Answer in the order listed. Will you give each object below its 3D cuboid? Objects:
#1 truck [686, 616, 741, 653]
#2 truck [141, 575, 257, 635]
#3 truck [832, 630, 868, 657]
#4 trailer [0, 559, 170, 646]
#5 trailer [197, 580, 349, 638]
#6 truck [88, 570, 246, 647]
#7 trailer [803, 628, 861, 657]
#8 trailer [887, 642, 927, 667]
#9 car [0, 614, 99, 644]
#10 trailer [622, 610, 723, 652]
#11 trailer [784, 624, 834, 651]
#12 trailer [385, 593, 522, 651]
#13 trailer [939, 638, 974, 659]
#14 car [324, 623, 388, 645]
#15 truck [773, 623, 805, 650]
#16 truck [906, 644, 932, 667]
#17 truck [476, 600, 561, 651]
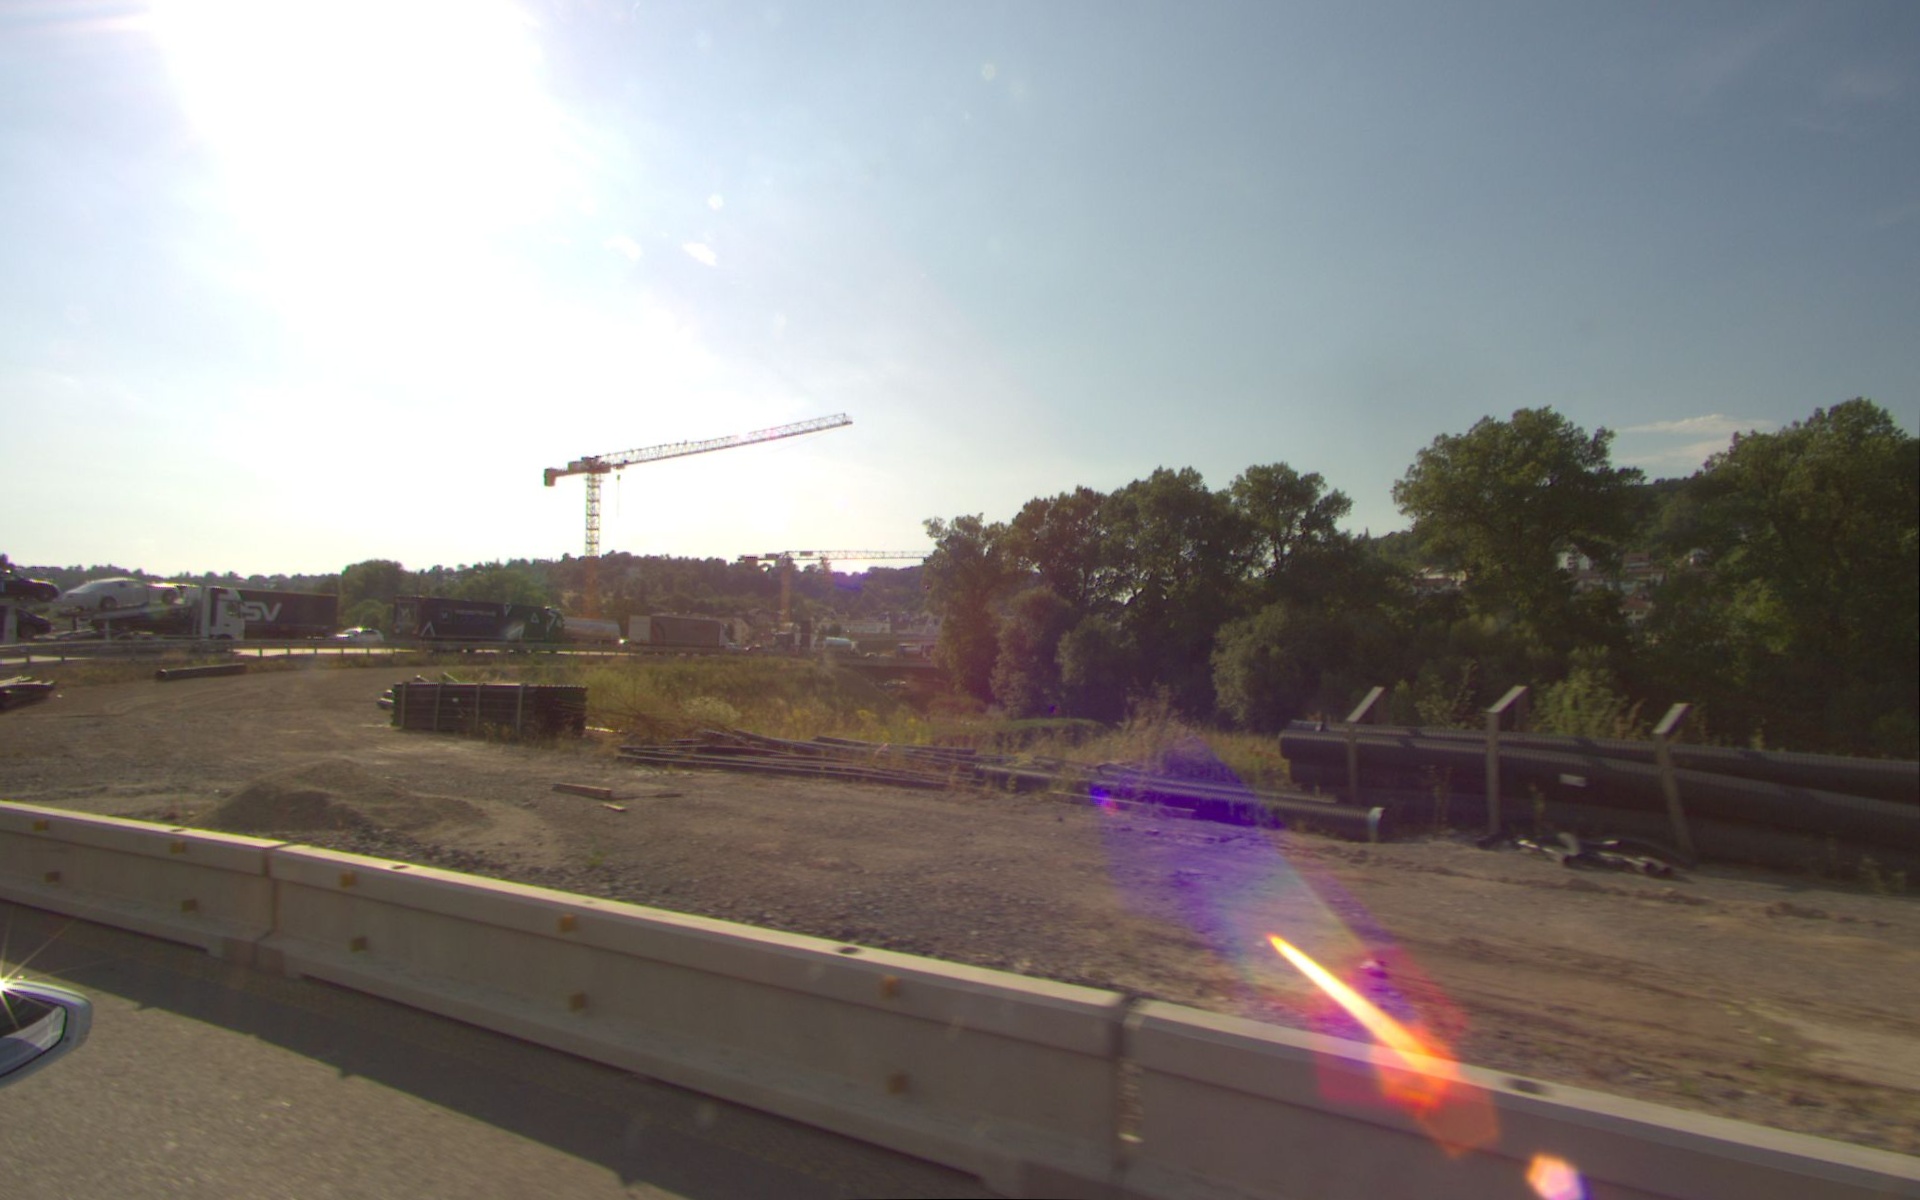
[{"bbox_3d":[-28.698,4.031,116.694,3.292,4.045,6.623,1,-3,15],"label":"truck"},{"bbox_3d":[-52.498,0.436,69.239,2.951,3.773,5.686,0,-3,16],"label":"truck"},{"bbox_3d":[-17.471,6.985,159.487,3.338,4.045,6.623,1,-3,15],"label":"truck"},{"bbox_3d":[-47.792,0.017,48.896,2.813,4.045,15.743,1,-3,15],"label":"trailer"},{"bbox_3d":[-50.920,0.787,74.694,2.962,3.797,9.566,0,-3,16],"label":"trailer"},{"bbox_3d":[-45.412,0.597,57.631,2.805,4.045,6.623,1,-3,15],"label":"truck"},{"bbox_3d":[-19.303,6.560,152.639,3.333,4.045,14.742,1,-3,15],"label":"trailer"},{"bbox_3d":[-9.880,10.358,188.108,3.056,4.367,14.249,1,-3,15],"label":"trailer"},{"bbox_3d":[-52.669,1.690,57.211,1.998,1.519,4.977,3,-2,16],"label":"car"},{"bbox_3d":[-30.886,3.527,108.771,3.333,4.045,14.742,1,-3,15],"label":"trailer"},{"bbox_3d":[-24.820,6.229,165.531,2.588,4.116,14.075,0,-4,16],"label":"trailer"},{"bbox_3d":[-39.454,1.864,78.698,2.914,4.141,10.789,0,-3,16],"label":"trailer"},{"bbox_3d":[-0.703,10.780,222.528,4.034,4.367,14.249,1,-3,15],"label":"trailer"},{"bbox_3d":[-46.769,2.618,77.610,1.631,1.519,4.236,3,-2,16],"label":"car"},{"bbox_3d":[-26.973,5.779,158.117,2.588,4.116,6.128,0,-3,16],"label":"truck"},{"bbox_3d":[-7.964,10.844,195.288,3.051,4.338,6.623,1,-3,15],"label":"truck"},{"bbox_3d":[-37.528,2.261,85.357,2.841,4.045,6.622,1,-3,16],"label":"truck"}]
